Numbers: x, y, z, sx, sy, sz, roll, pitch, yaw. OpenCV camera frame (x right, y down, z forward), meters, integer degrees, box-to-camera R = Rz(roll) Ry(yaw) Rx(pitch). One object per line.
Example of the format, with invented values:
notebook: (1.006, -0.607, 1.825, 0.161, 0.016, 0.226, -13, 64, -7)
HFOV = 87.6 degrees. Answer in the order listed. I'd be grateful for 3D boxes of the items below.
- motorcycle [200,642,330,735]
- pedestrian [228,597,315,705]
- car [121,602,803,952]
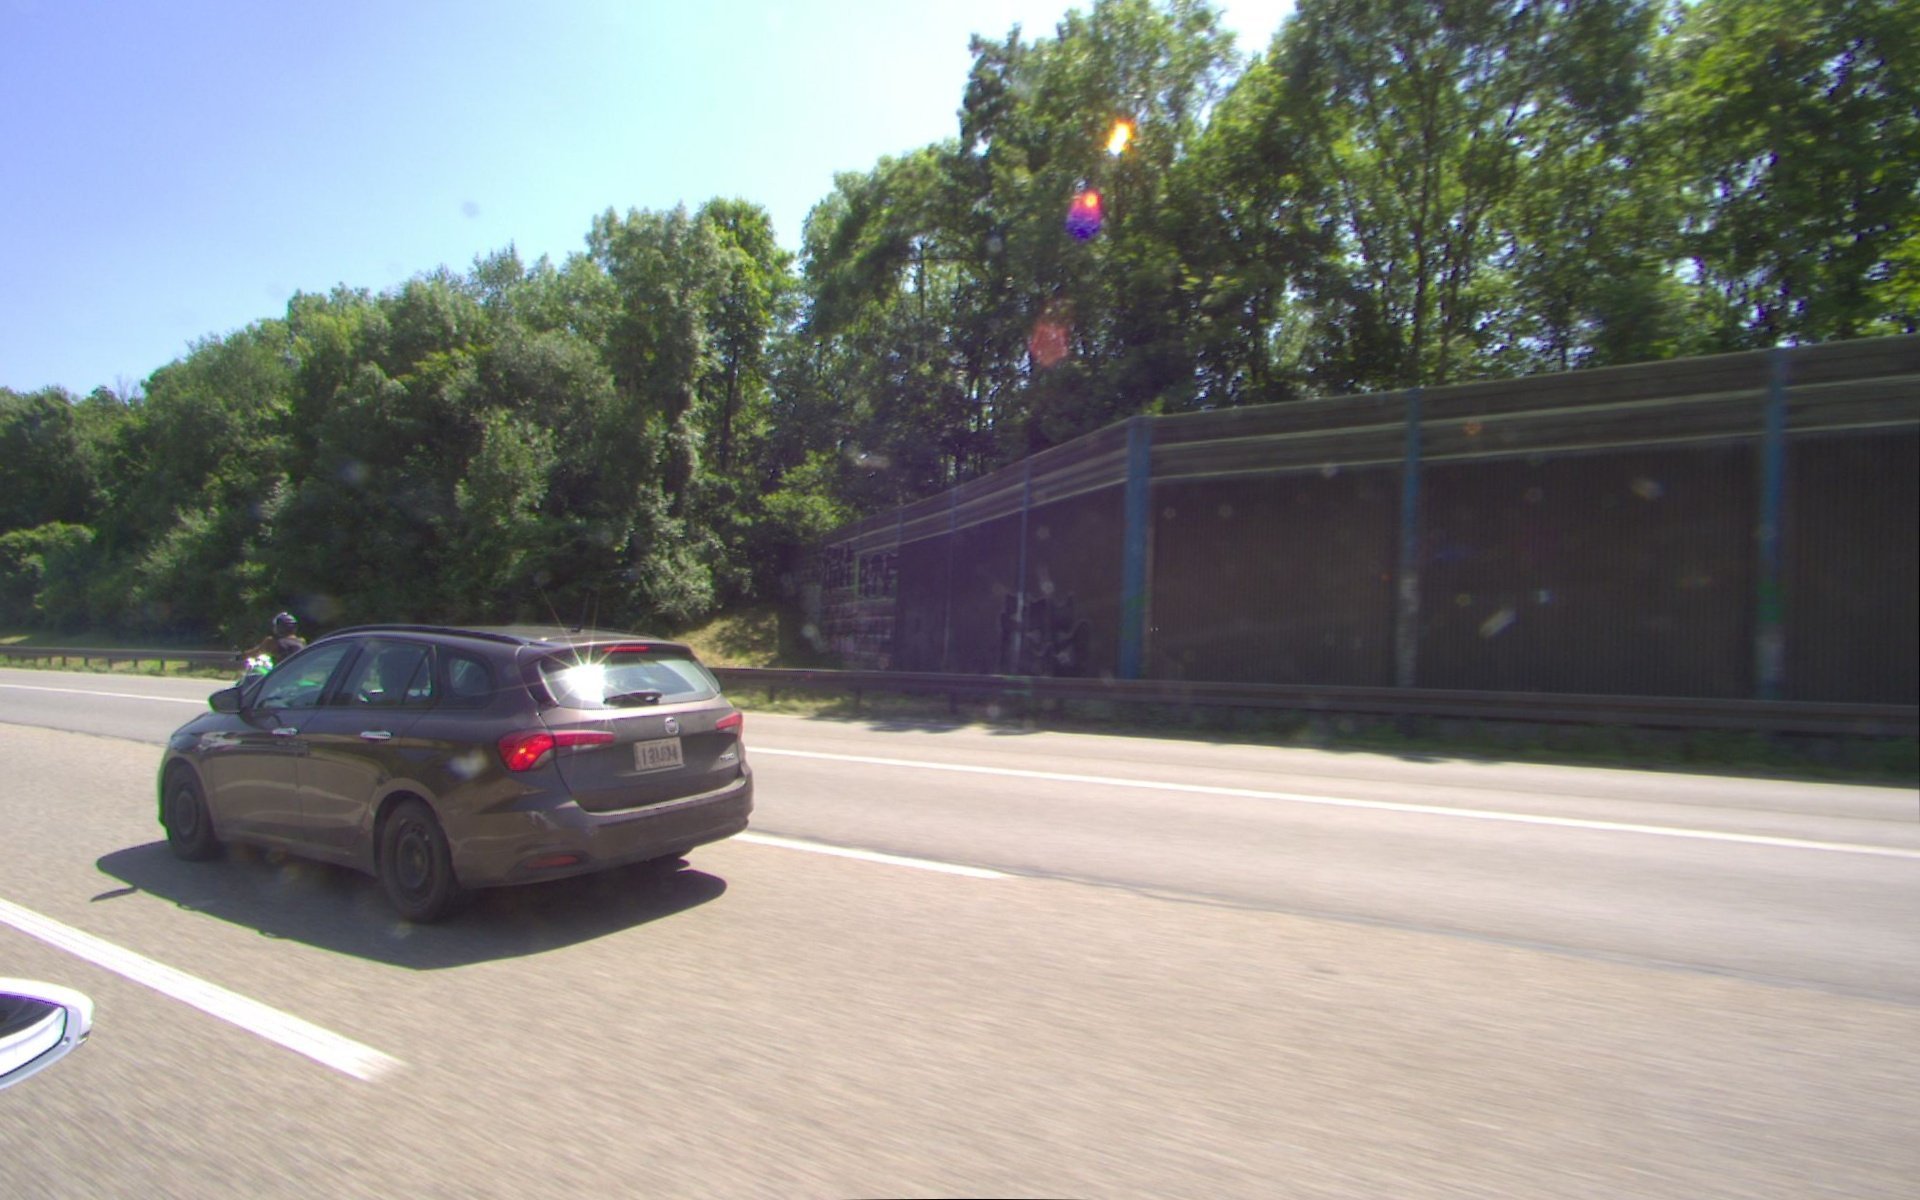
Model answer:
motorcycle: (-10.145, 1.246, 14.587, 2.246, 1.197, 0.857, 0, -1, 36)
pedestrian: (-9.922, 0.728, 14.435, 0.630, 1.498, 0.849, 1, -1, 36)
car: (-3.273, 0.815, 6.354, 4.337, 1.532, 1.836, 0, -2, 31)
